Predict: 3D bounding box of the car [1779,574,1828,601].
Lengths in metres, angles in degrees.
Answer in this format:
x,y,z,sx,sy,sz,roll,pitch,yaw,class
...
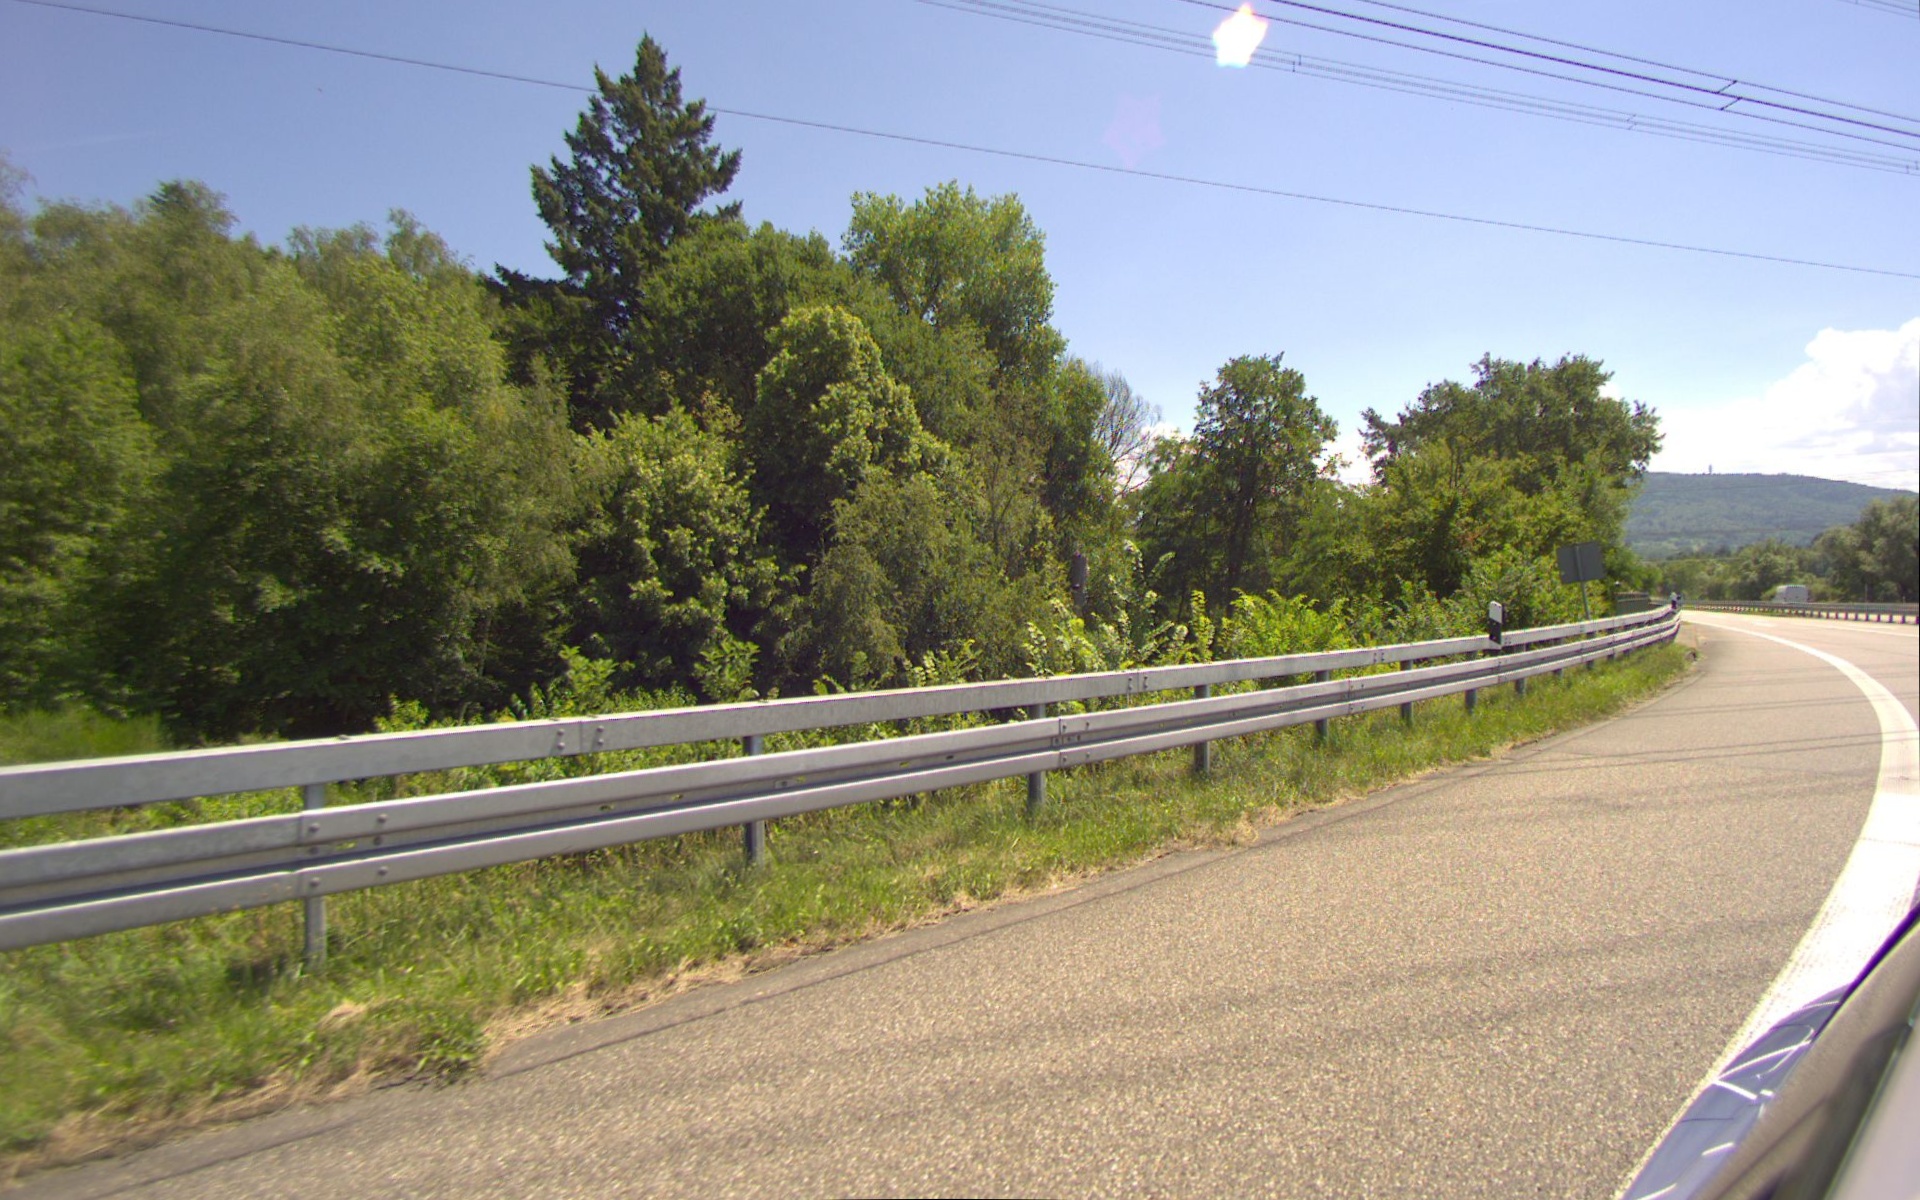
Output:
x,y,z,sx,sy,sz,roll,pitch,yaw,class
87.133,-1.270,104.693,2.511,2.650,7.112,2,2,29,car
